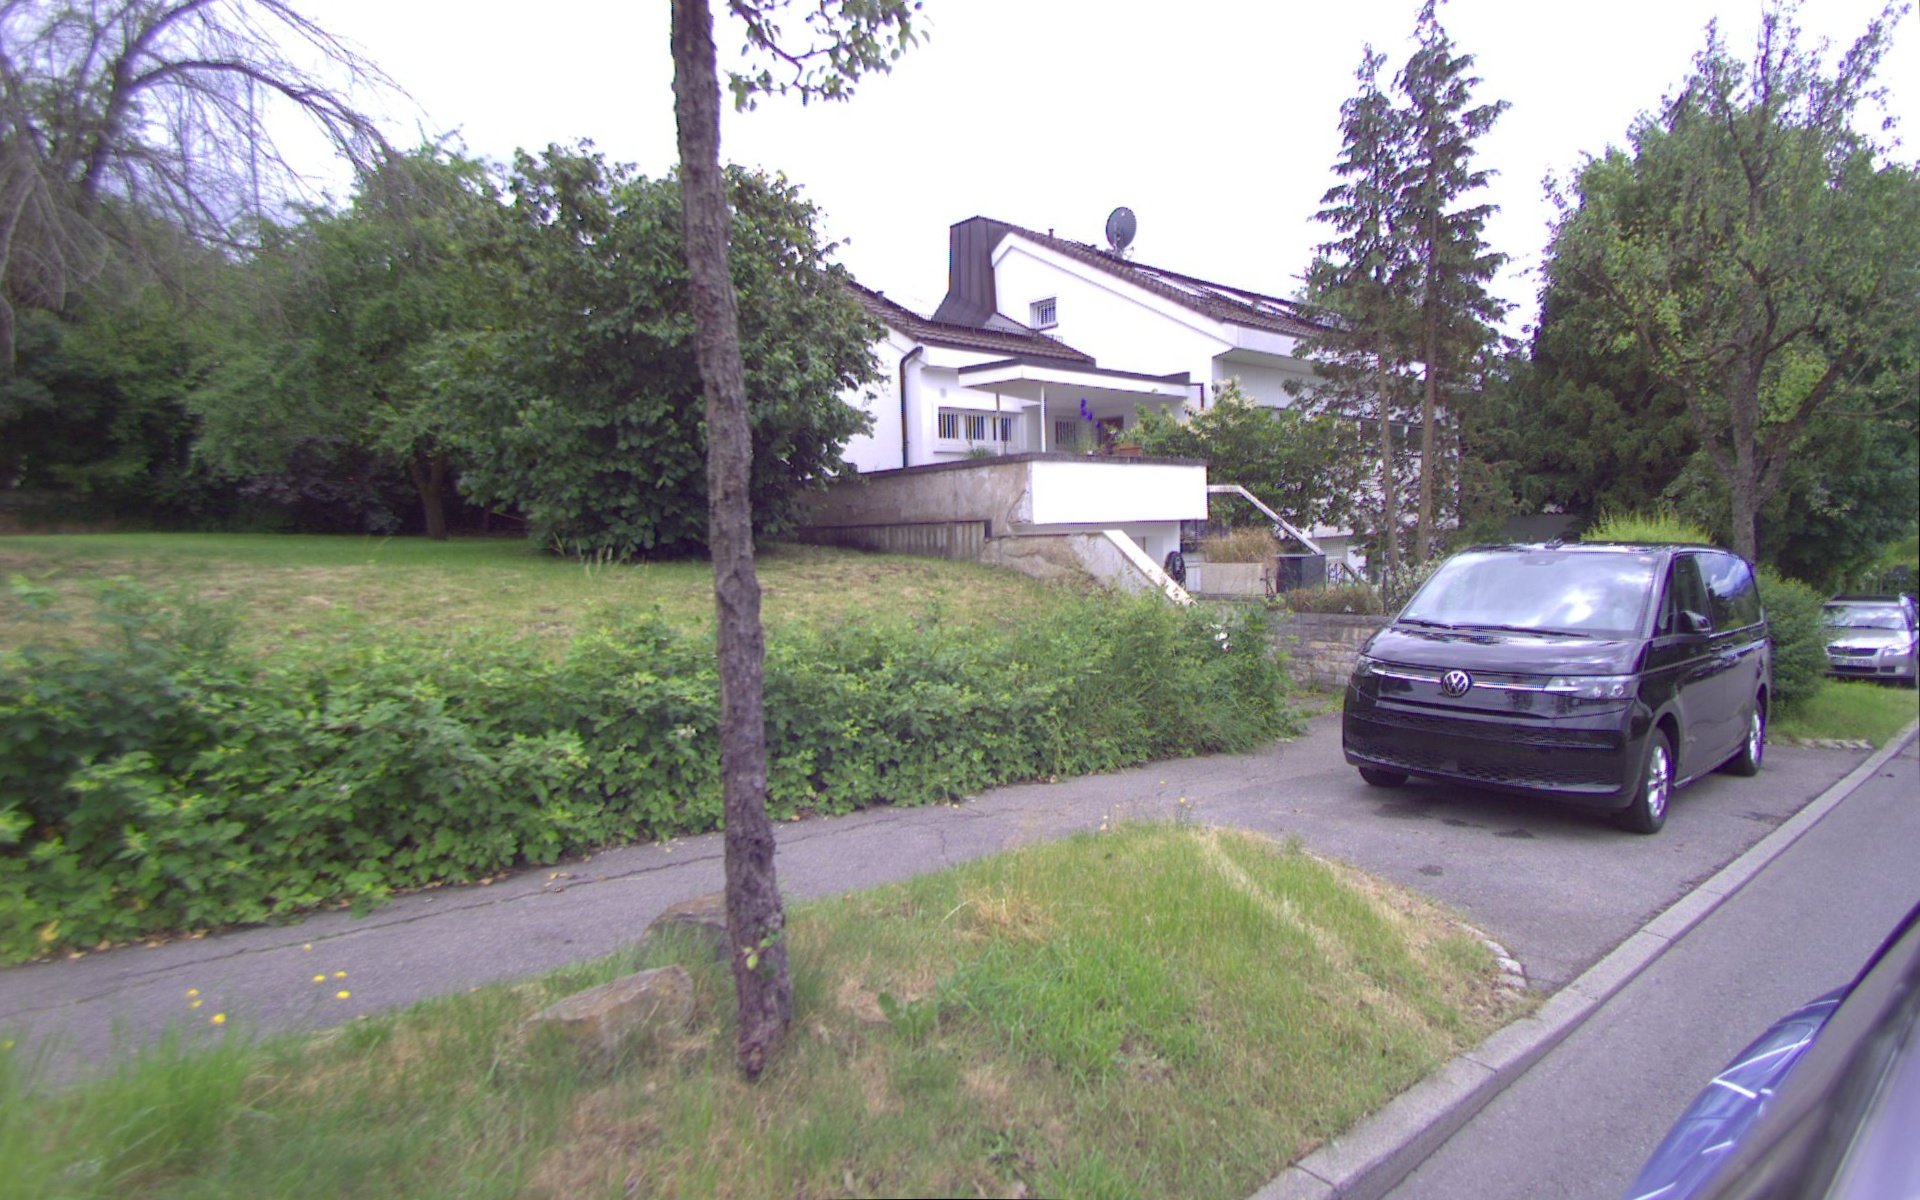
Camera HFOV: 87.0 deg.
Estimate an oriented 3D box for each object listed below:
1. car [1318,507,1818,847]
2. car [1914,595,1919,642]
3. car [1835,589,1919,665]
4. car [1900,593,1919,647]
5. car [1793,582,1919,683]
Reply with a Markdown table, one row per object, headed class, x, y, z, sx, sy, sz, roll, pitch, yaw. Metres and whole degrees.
| class | x | y | z | sx | sy | sz | roll | pitch | yaw |
| --- | --- | --- | --- | --- | --- | --- | --- | --- | --- |
| car | 5.039 | 0.380 | 7.988 | 5.129 | 1.860 | 1.939 | 0 | 2 | -42 |
| car | 32.826 | 0.618 | 33.483 | 1.810 | 1.470 | 4.310 | 3 | 3 | 43 |
| car | 21.547 | 0.573 | 22.862 | 4.917 | 1.510 | 1.997 | 0 | 2 | -41 |
| car | 29.322 | 0.571 | 30.065 | 4.088 | 1.527 | 1.700 | 0 | 0 | -42 |
| car | 16.647 | 0.518 | 18.445 | 3.861 | 1.653 | 1.719 | 0 | 0 | -42 |
